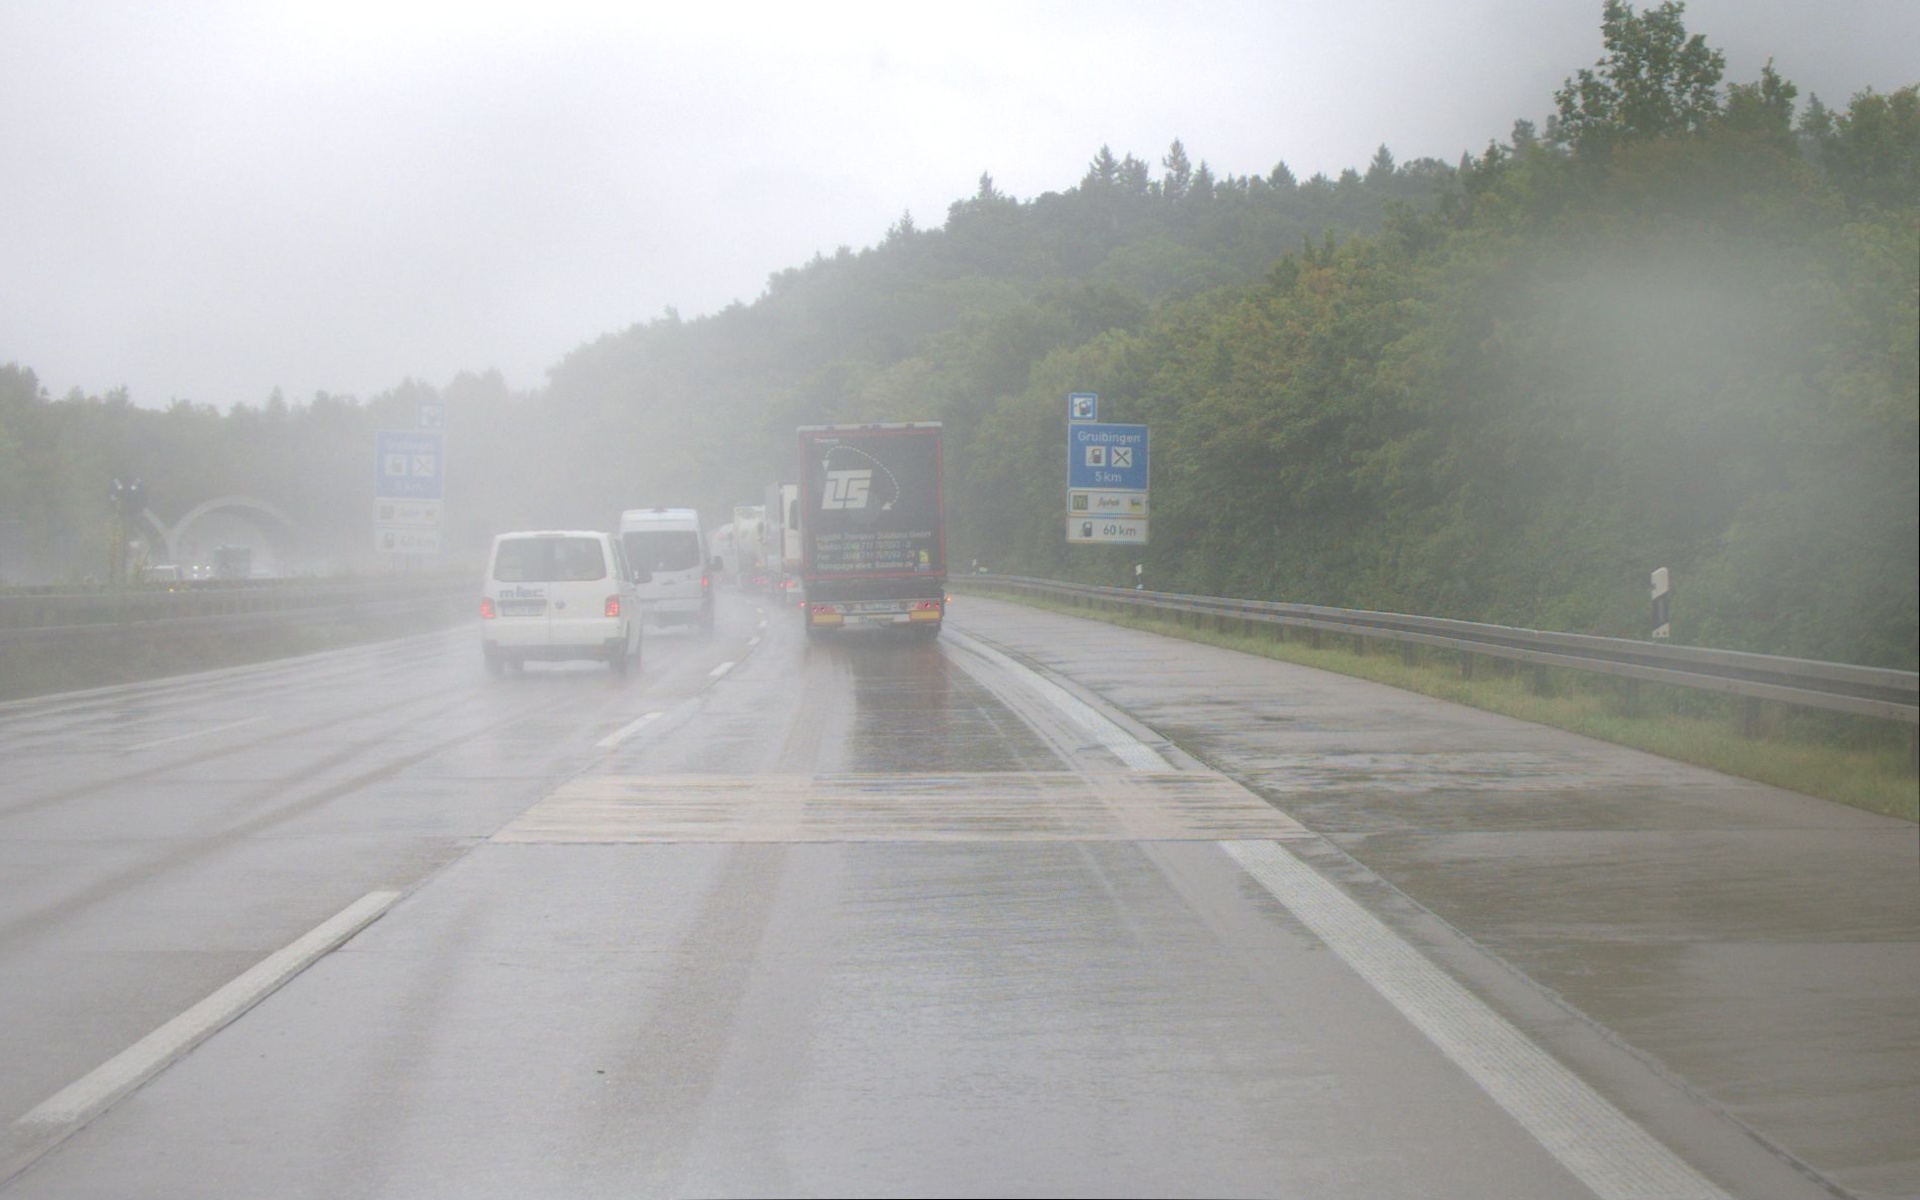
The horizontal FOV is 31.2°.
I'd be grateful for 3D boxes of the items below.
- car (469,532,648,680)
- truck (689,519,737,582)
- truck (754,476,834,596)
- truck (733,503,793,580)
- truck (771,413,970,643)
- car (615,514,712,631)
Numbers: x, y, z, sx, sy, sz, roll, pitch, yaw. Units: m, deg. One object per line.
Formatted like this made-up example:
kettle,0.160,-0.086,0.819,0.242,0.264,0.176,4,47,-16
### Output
car,-5.355,0.050,46.408,1.899,1.888,5.043,0,1,-1
truck,-12.634,-2.513,175.512,1.993,3.159,6.735,0,1,-8
truck,-5.444,-2.069,111.782,1.993,3.793,6.735,0,1,-8
truck,-8.384,-2.477,145.696,1.993,3.159,6.735,0,1,-8
truck,-1.703,-1.475,65.286,3.385,3.954,8.668,-2,3,-1
car,-6.199,-0.599,71.462,1.899,2.326,5.252,0,1,-6
